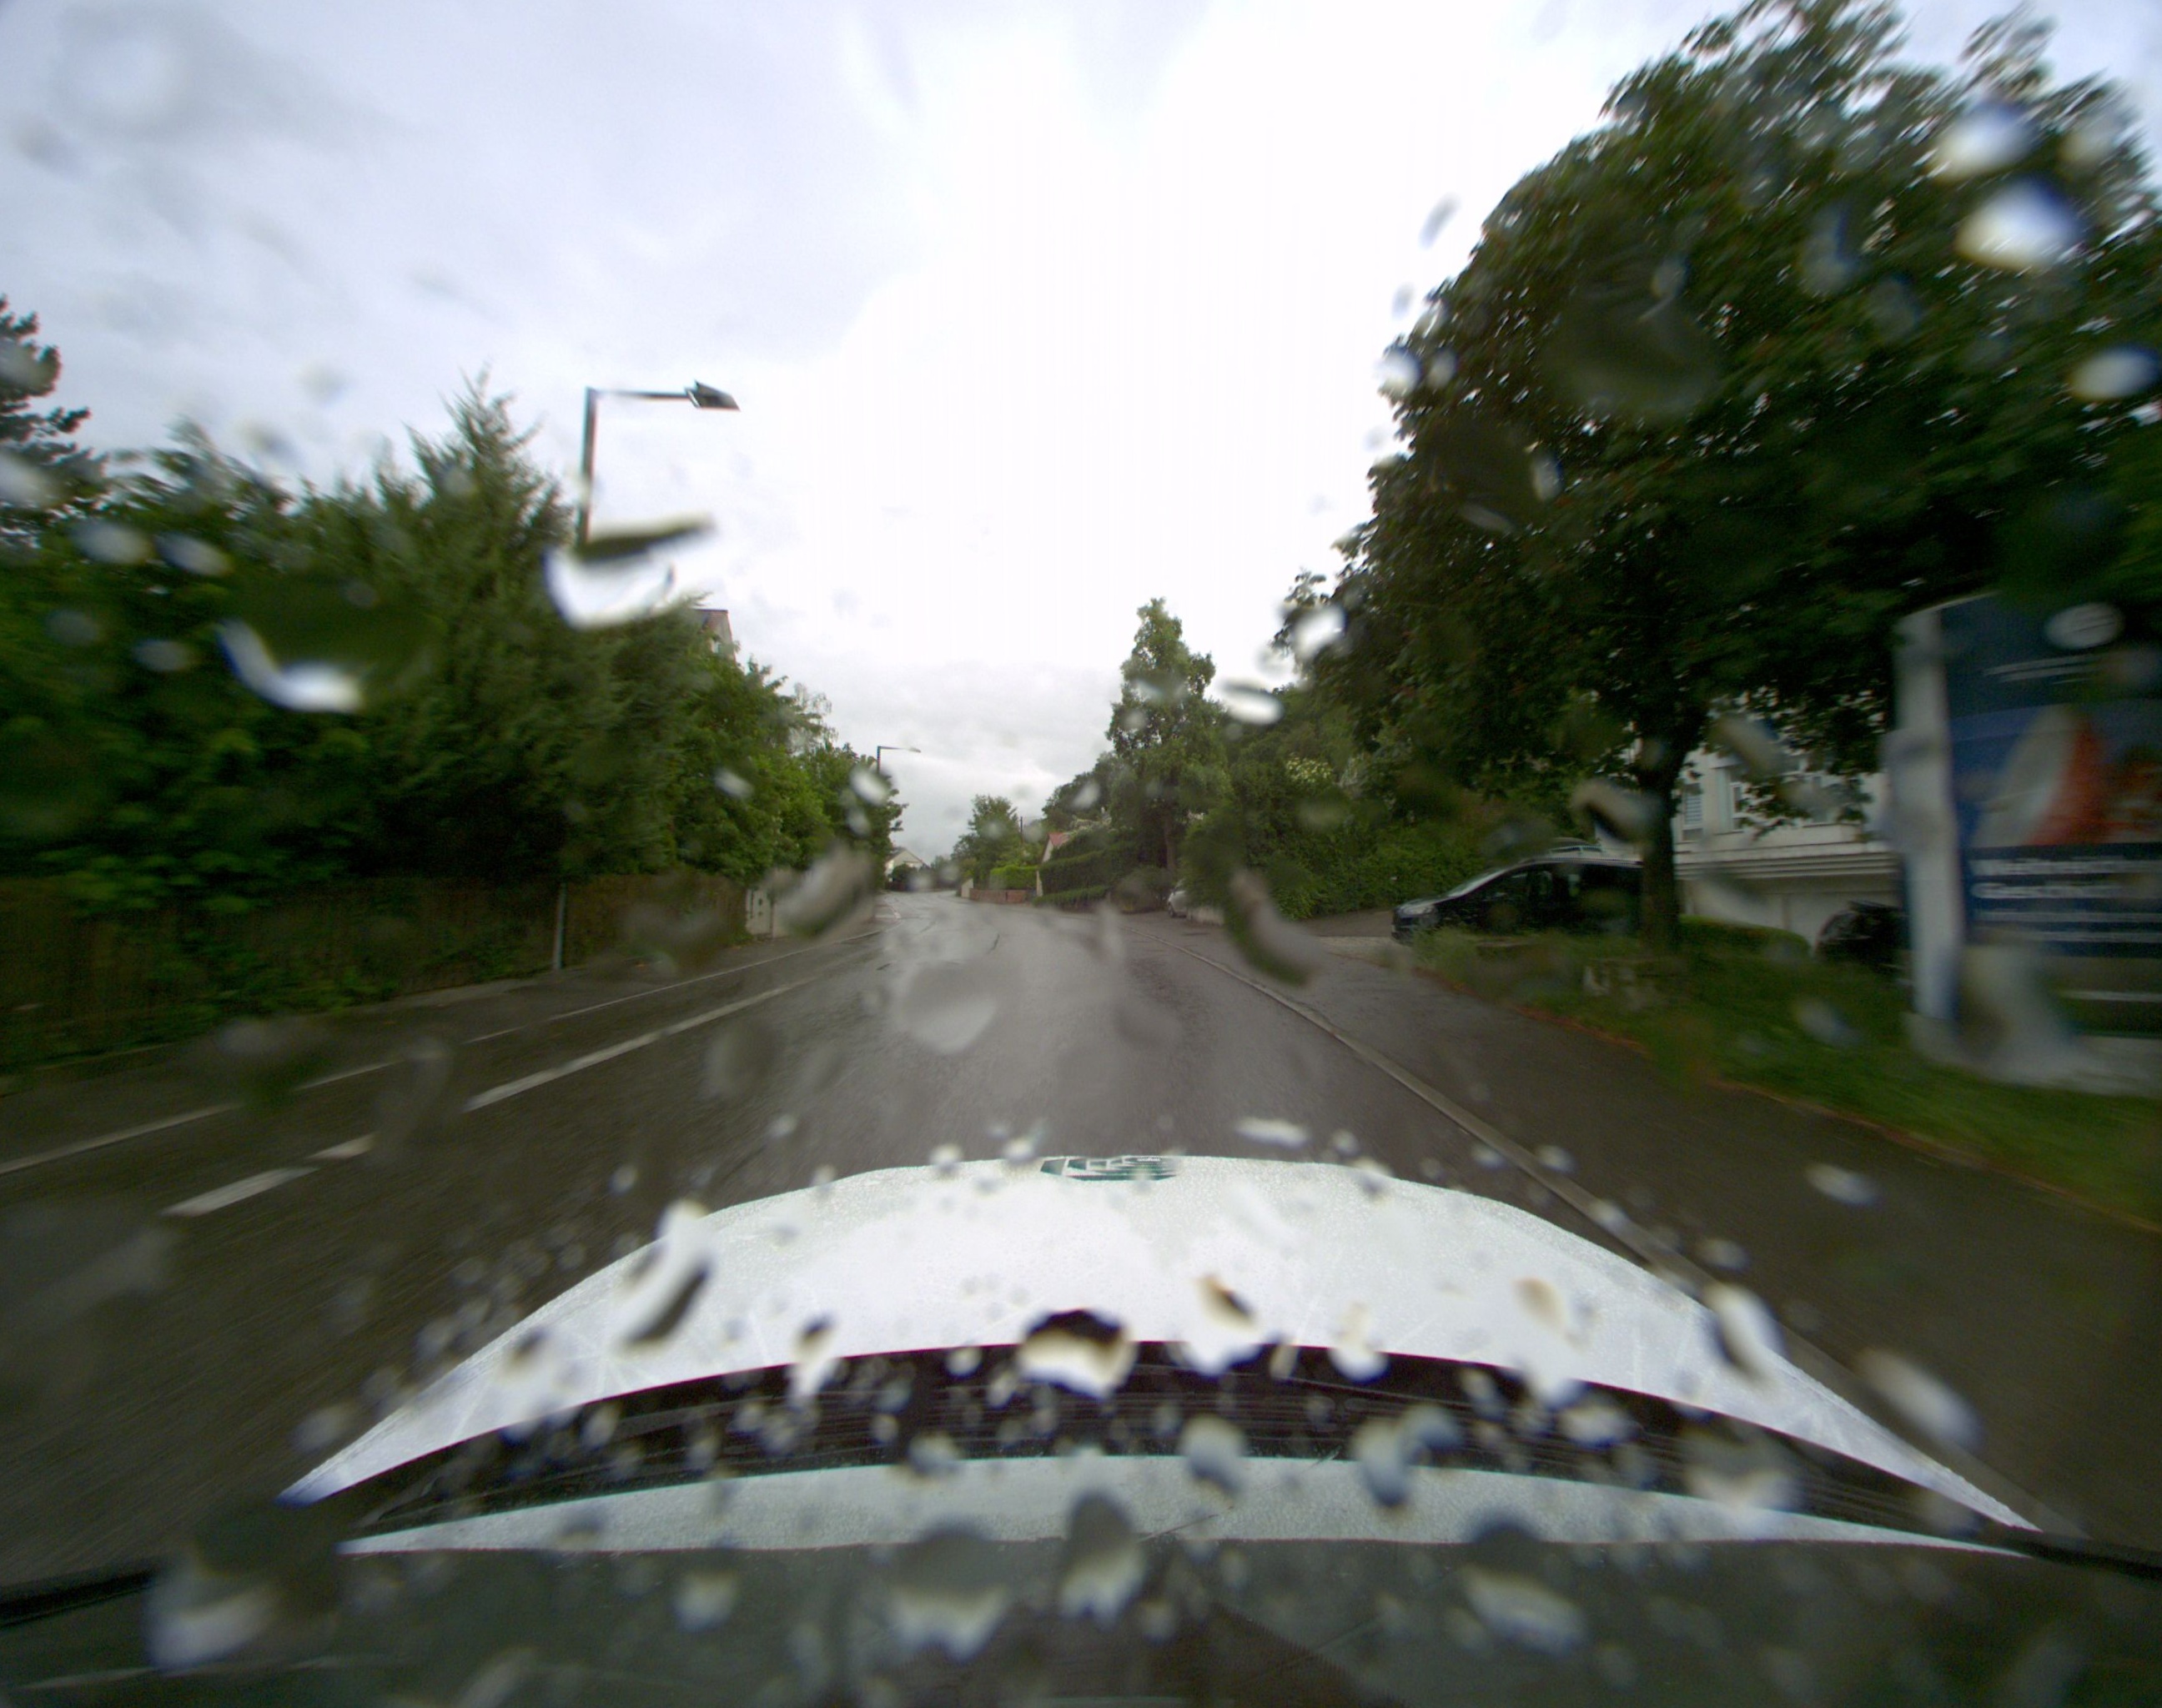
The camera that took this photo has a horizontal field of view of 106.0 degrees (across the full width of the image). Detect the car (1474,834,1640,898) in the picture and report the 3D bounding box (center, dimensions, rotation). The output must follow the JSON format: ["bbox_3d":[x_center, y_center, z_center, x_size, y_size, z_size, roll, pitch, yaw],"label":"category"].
[{"bbox_3d":[13.410,0.339,22.972,4.281,1.634,1.716,-1,-3,-22],"label":"car"}]

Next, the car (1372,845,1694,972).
[{"bbox_3d":[7.162,0.843,13.361,4.301,1.717,1.734,2,-3,13],"label":"car"}]

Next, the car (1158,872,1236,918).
[{"bbox_3d":[4.326,1.529,30.913,1.534,1.535,3.827,-4,-1,-13],"label":"car"}]
